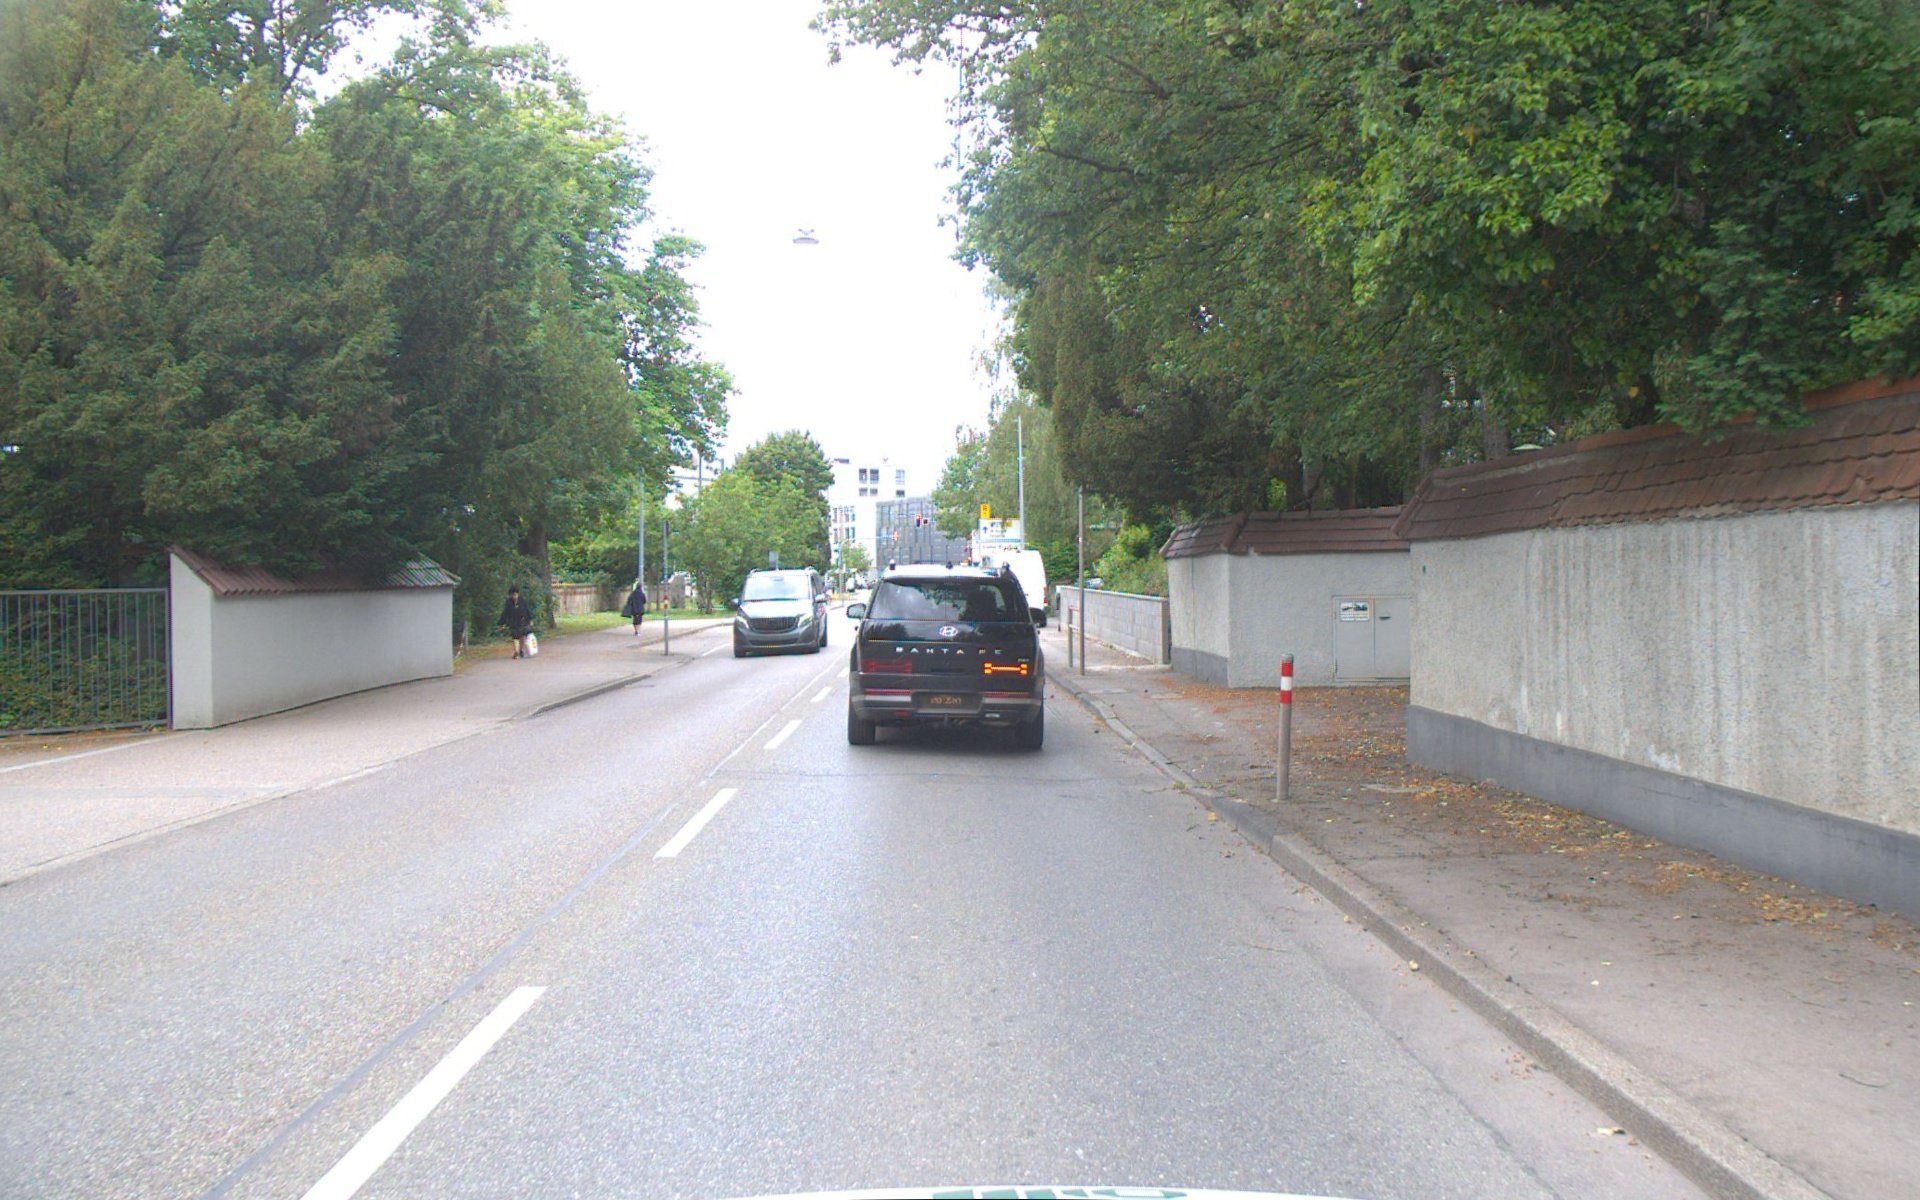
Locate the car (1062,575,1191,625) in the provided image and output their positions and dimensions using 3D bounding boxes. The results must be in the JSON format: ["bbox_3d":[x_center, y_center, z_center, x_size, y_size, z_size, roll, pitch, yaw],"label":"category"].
[{"bbox_3d":[5.772,-0.001,57.575,4.304,1.681,1.830,-1,0,0],"label":"car"}]

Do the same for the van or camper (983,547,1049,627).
[{"bbox_3d":[1.963,-0.479,60.251,1.924,2.673,6.357,-2,0,-2],"label":"van or camper"}]

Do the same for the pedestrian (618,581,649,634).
[{"bbox_3d":[-10.066,0.219,51.035,0.733,1.605,0.966,1,0,-1],"label":"pedestrian"}]

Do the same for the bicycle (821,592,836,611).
[{"bbox_3d":[-9.660,0.119,121.479,0.664,1.302,2.491,2,-1,-14],"label":"bicycle"}]

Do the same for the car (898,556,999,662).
[{"bbox_3d":[-0.280,0.159,34.288,1.924,2.036,3.999,1,0,-2],"label":"car"}]

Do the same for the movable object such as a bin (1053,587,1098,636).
[{"bbox_3d":[3.585,0.362,51.413,1.273,1.476,1.180,-1,0,-1],"label":"movable object such as a bin"}]

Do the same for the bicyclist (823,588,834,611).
[{"bbox_3d":[-9.657,-0.012,121.511,0.664,1.688,0.855,2,-2,-15],"label":"bicyclist"}]

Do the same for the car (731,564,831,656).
[{"bbox_3d":[-4.082,0.204,38.429,1.852,1.888,5.081,-3,0,-2],"label":"car"}]

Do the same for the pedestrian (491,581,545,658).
[{"bbox_3d":[-9.436,0.425,35.332,0.907,1.588,0.901,3,-1,-5],"label":"pedestrian"}]

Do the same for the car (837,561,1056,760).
[{"bbox_3d":[-0.144,0.530,16.785,1.924,1.741,3.999,1,0,-1],"label":"car"}]
